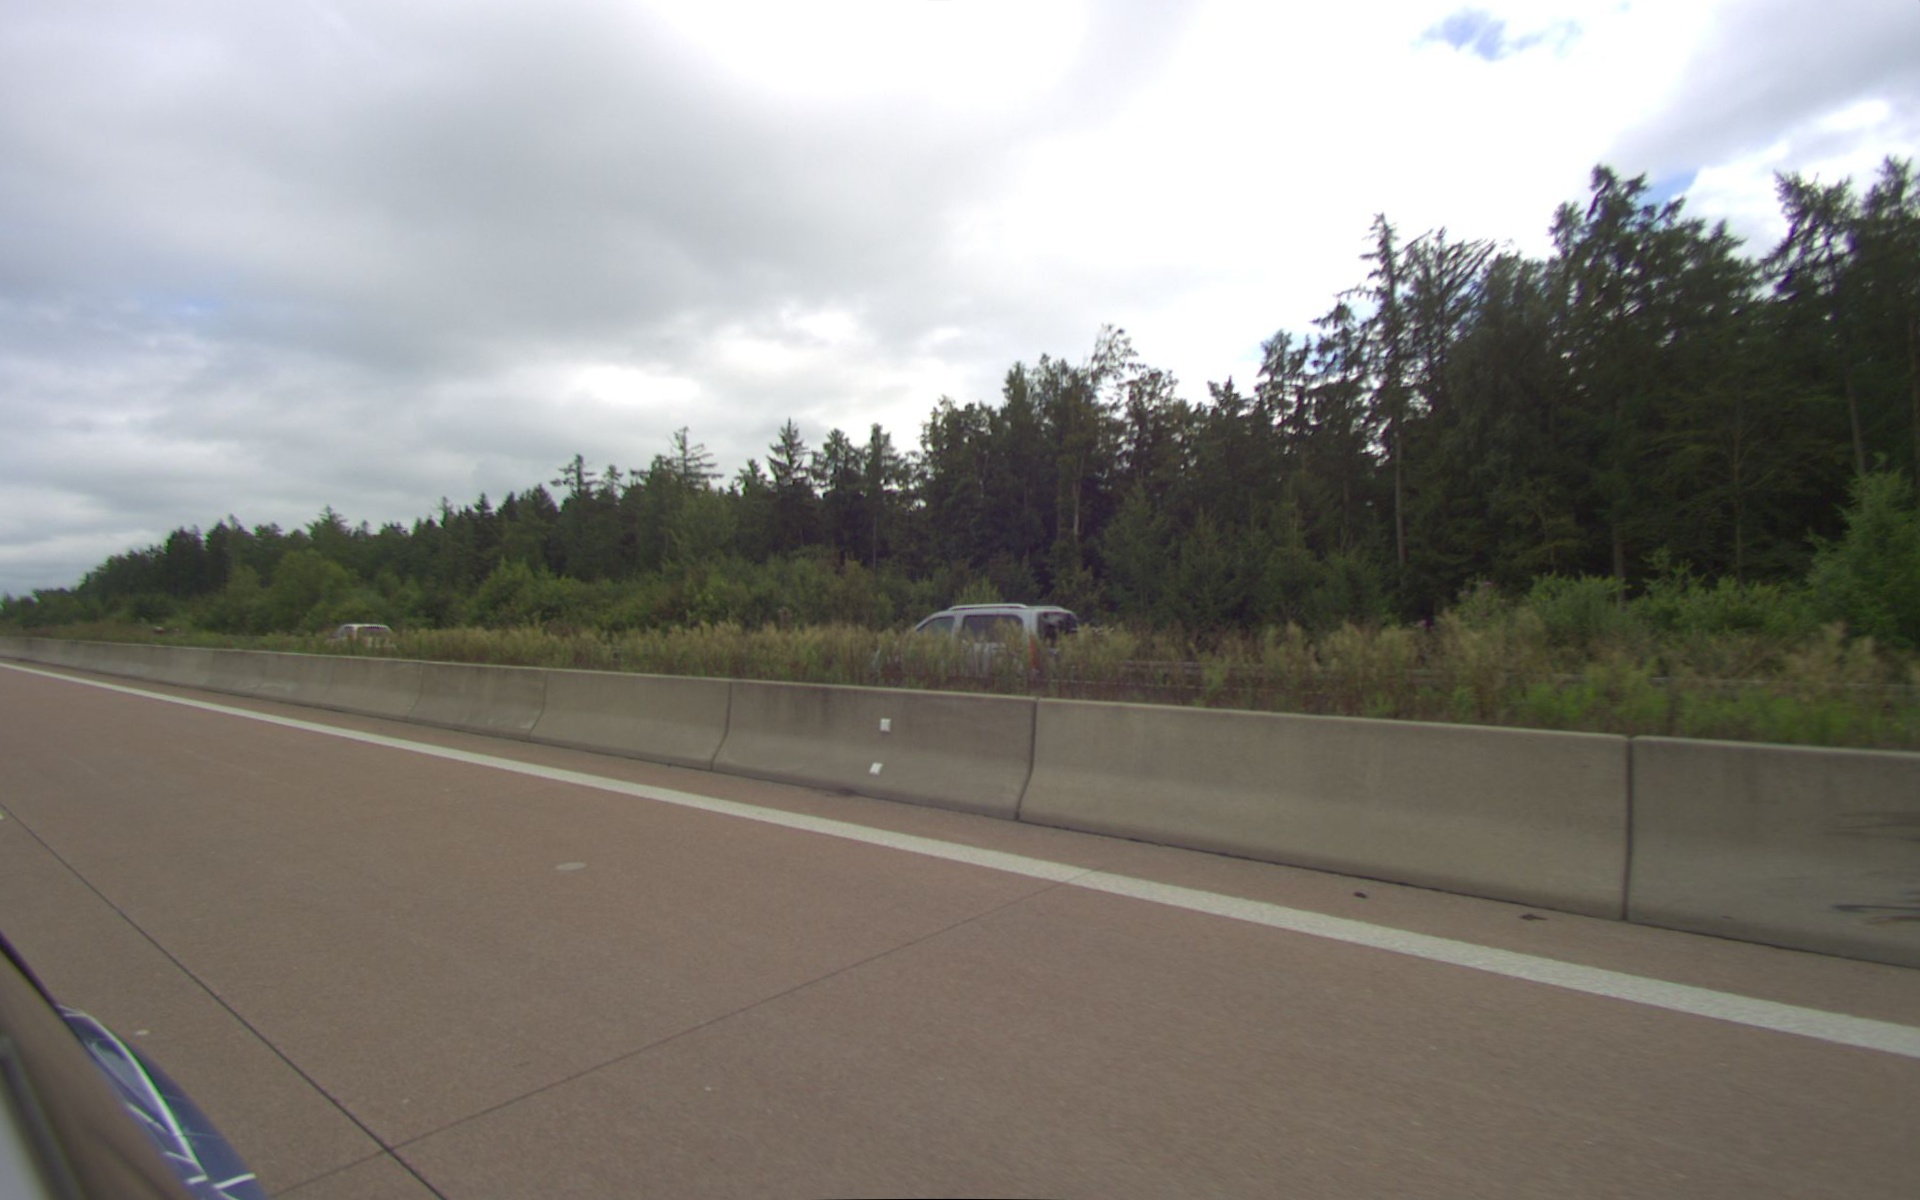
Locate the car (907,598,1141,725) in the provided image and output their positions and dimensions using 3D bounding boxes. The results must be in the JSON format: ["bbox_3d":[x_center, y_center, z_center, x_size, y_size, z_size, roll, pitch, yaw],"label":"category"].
[{"bbox_3d":[1.071,1.022,18.175,3.998,1.995,1.655,-1,0,41],"label":"car"}]

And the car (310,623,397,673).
[{"bbox_3d":[-23.387,1.815,38.999,3.750,1.786,1.765,-2,0,41],"label":"car"}]

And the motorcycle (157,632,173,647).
[{"bbox_3d":[-63.637,3.171,80.980,2.153,1.164,0.594,-1,0,41],"label":"motorcycle"}]
